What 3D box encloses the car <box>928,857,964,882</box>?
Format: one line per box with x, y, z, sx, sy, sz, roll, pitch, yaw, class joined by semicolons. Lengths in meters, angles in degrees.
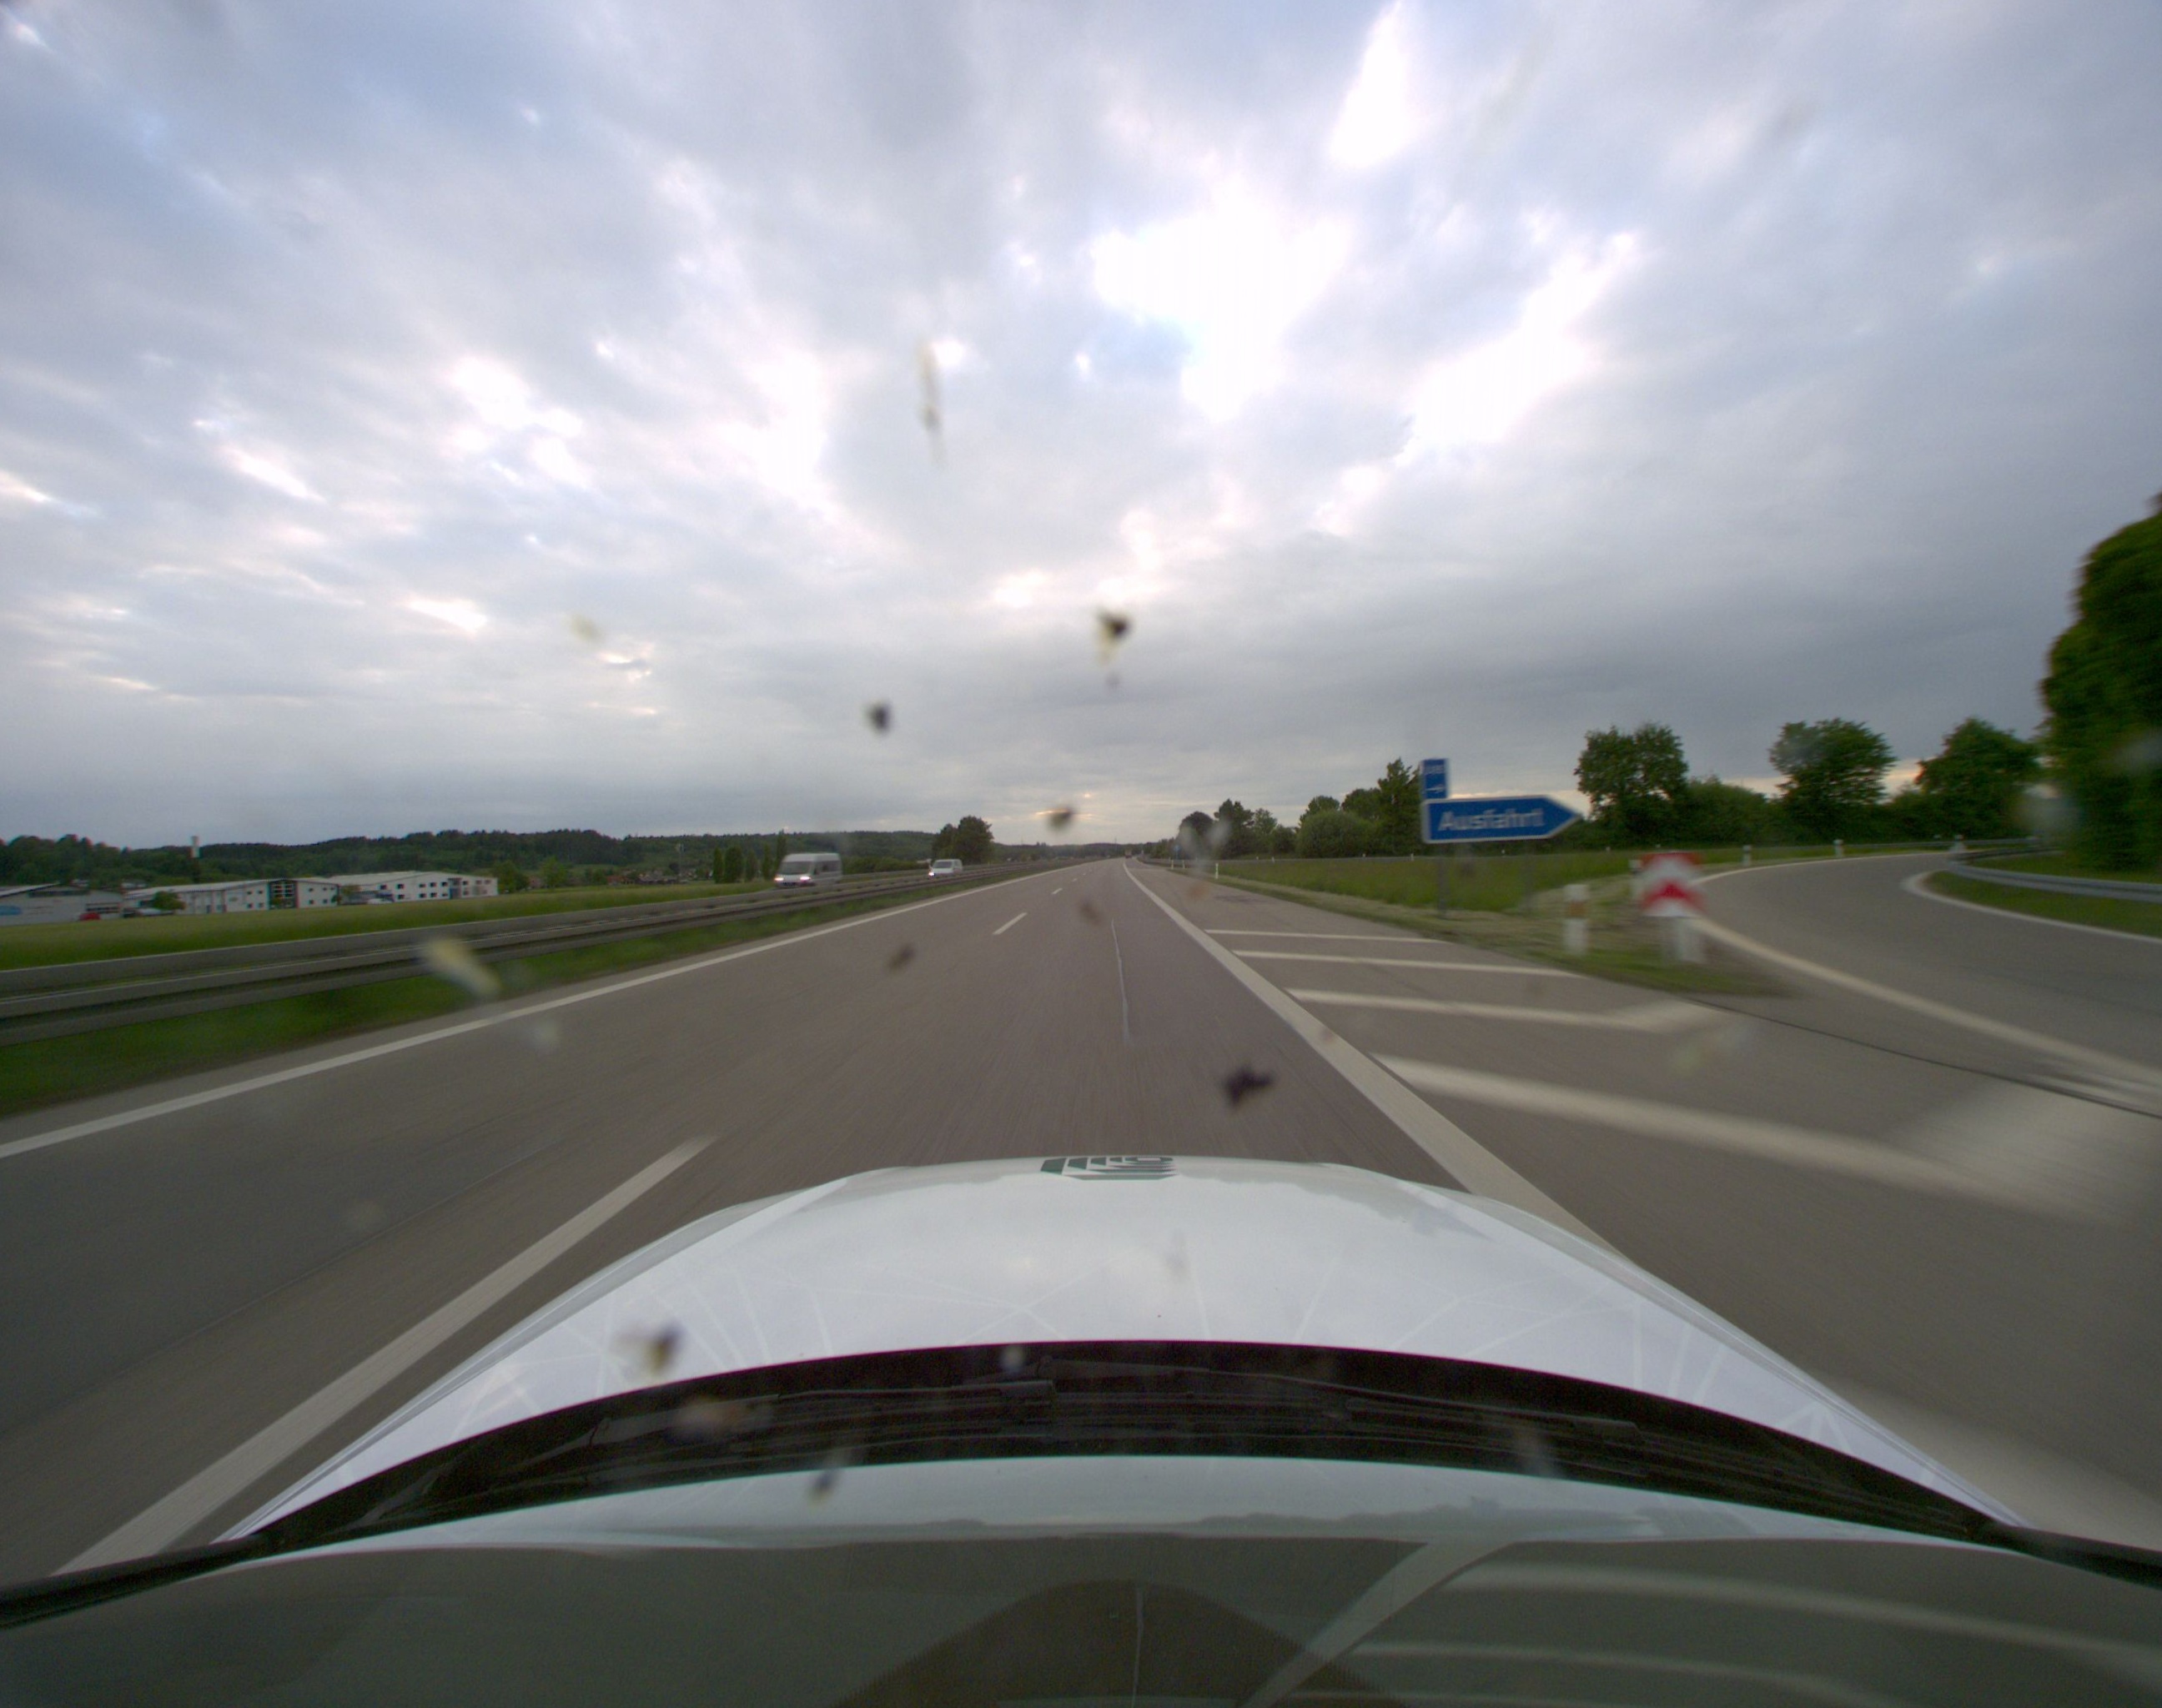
-10.973;1.247;66.520;1.899;1.890;5.073;-1;0;1;car

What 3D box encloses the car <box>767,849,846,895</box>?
-15.938;0.972;47.719;2.137;2.483;6.592;-1;0;2;car
